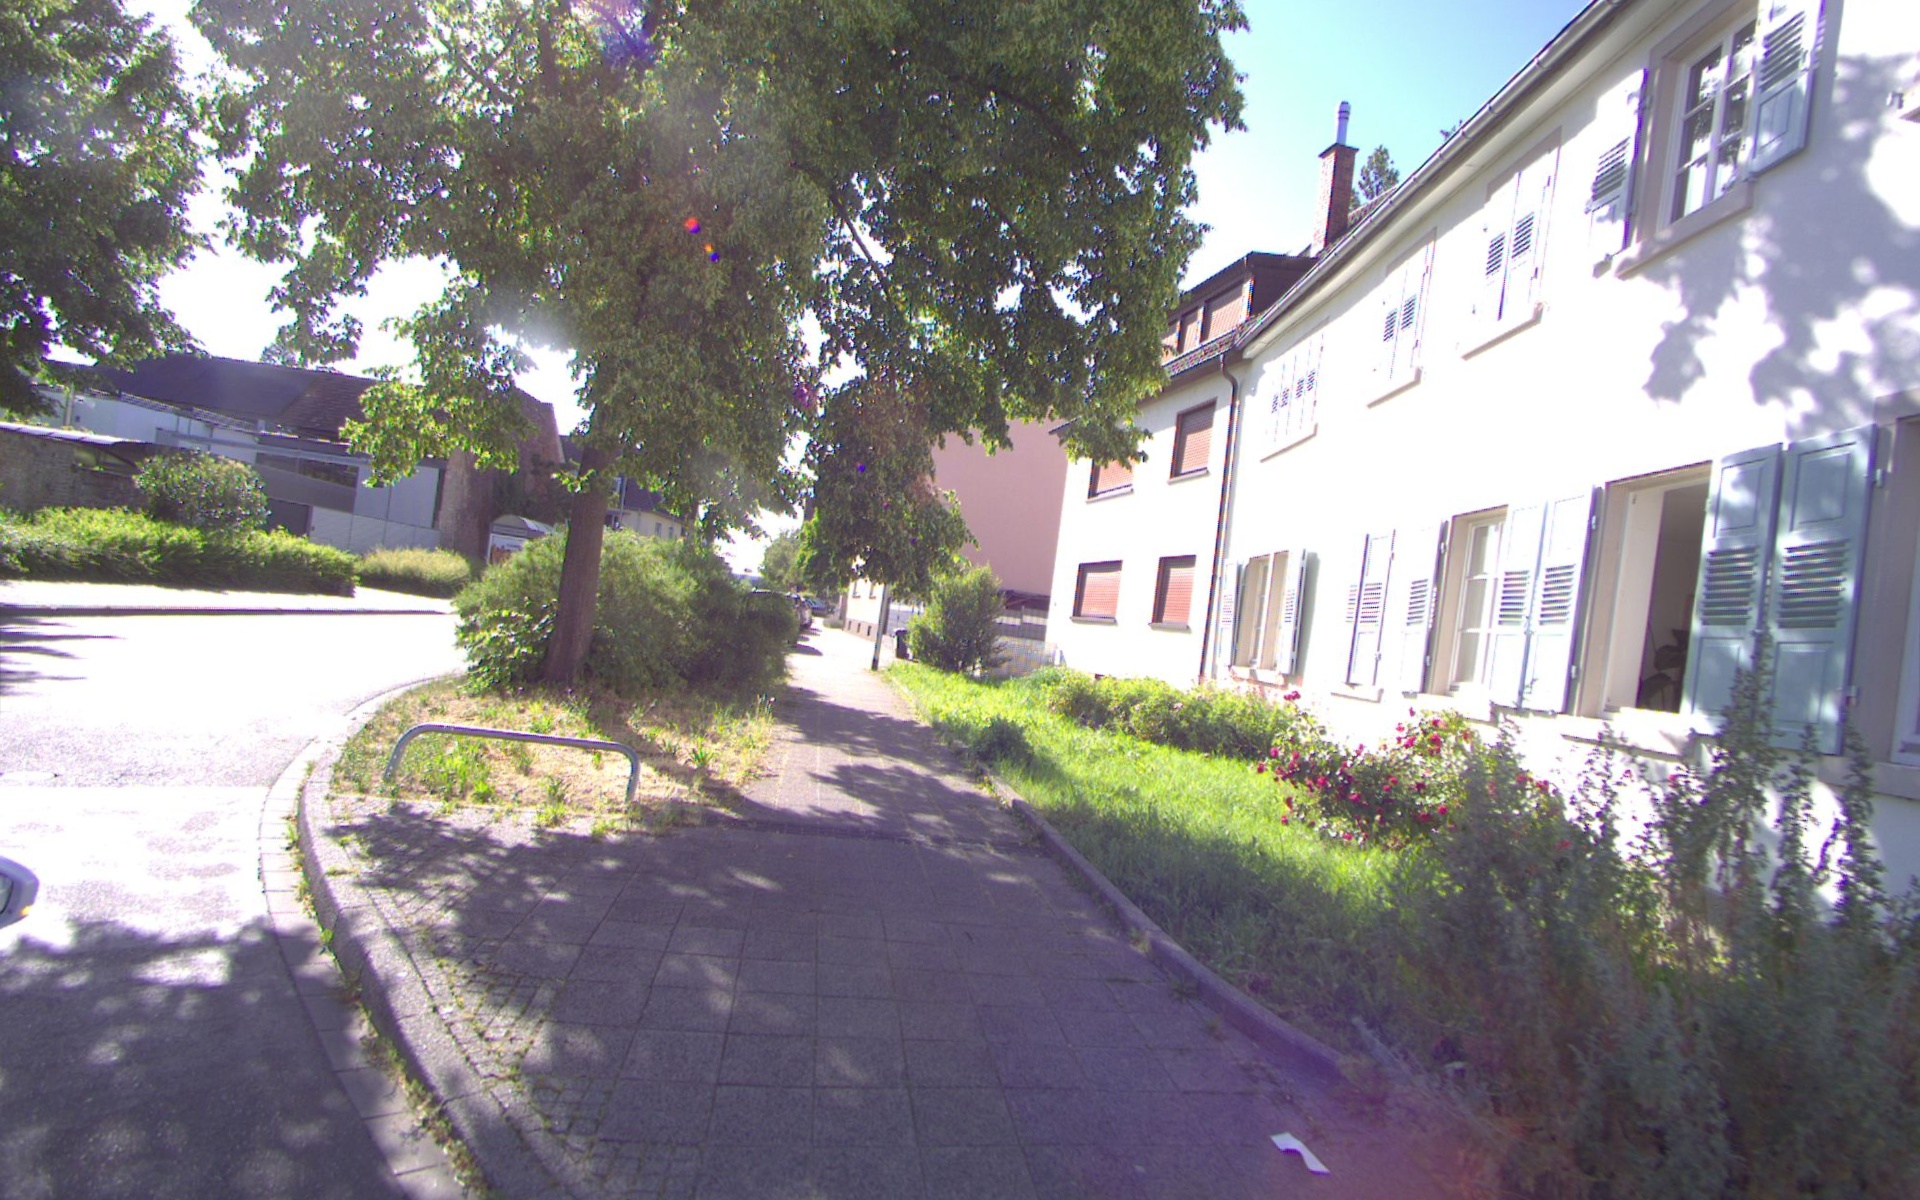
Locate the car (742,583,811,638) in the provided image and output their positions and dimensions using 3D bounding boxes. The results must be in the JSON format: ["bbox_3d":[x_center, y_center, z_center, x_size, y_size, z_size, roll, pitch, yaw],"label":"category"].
[{"bbox_3d":[-6.905,0.397,38.153,1.880,1.695,3.998,8,-1,-3],"label":"car"}]

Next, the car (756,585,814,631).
[{"bbox_3d":[-7.712,0.355,44.599,1.880,1.695,3.998,8,-1,-3],"label":"car"}]

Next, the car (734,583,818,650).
[{"bbox_3d":[-5.655,0.500,31.327,1.880,1.695,3.998,8,-1,-3],"label":"car"}]
